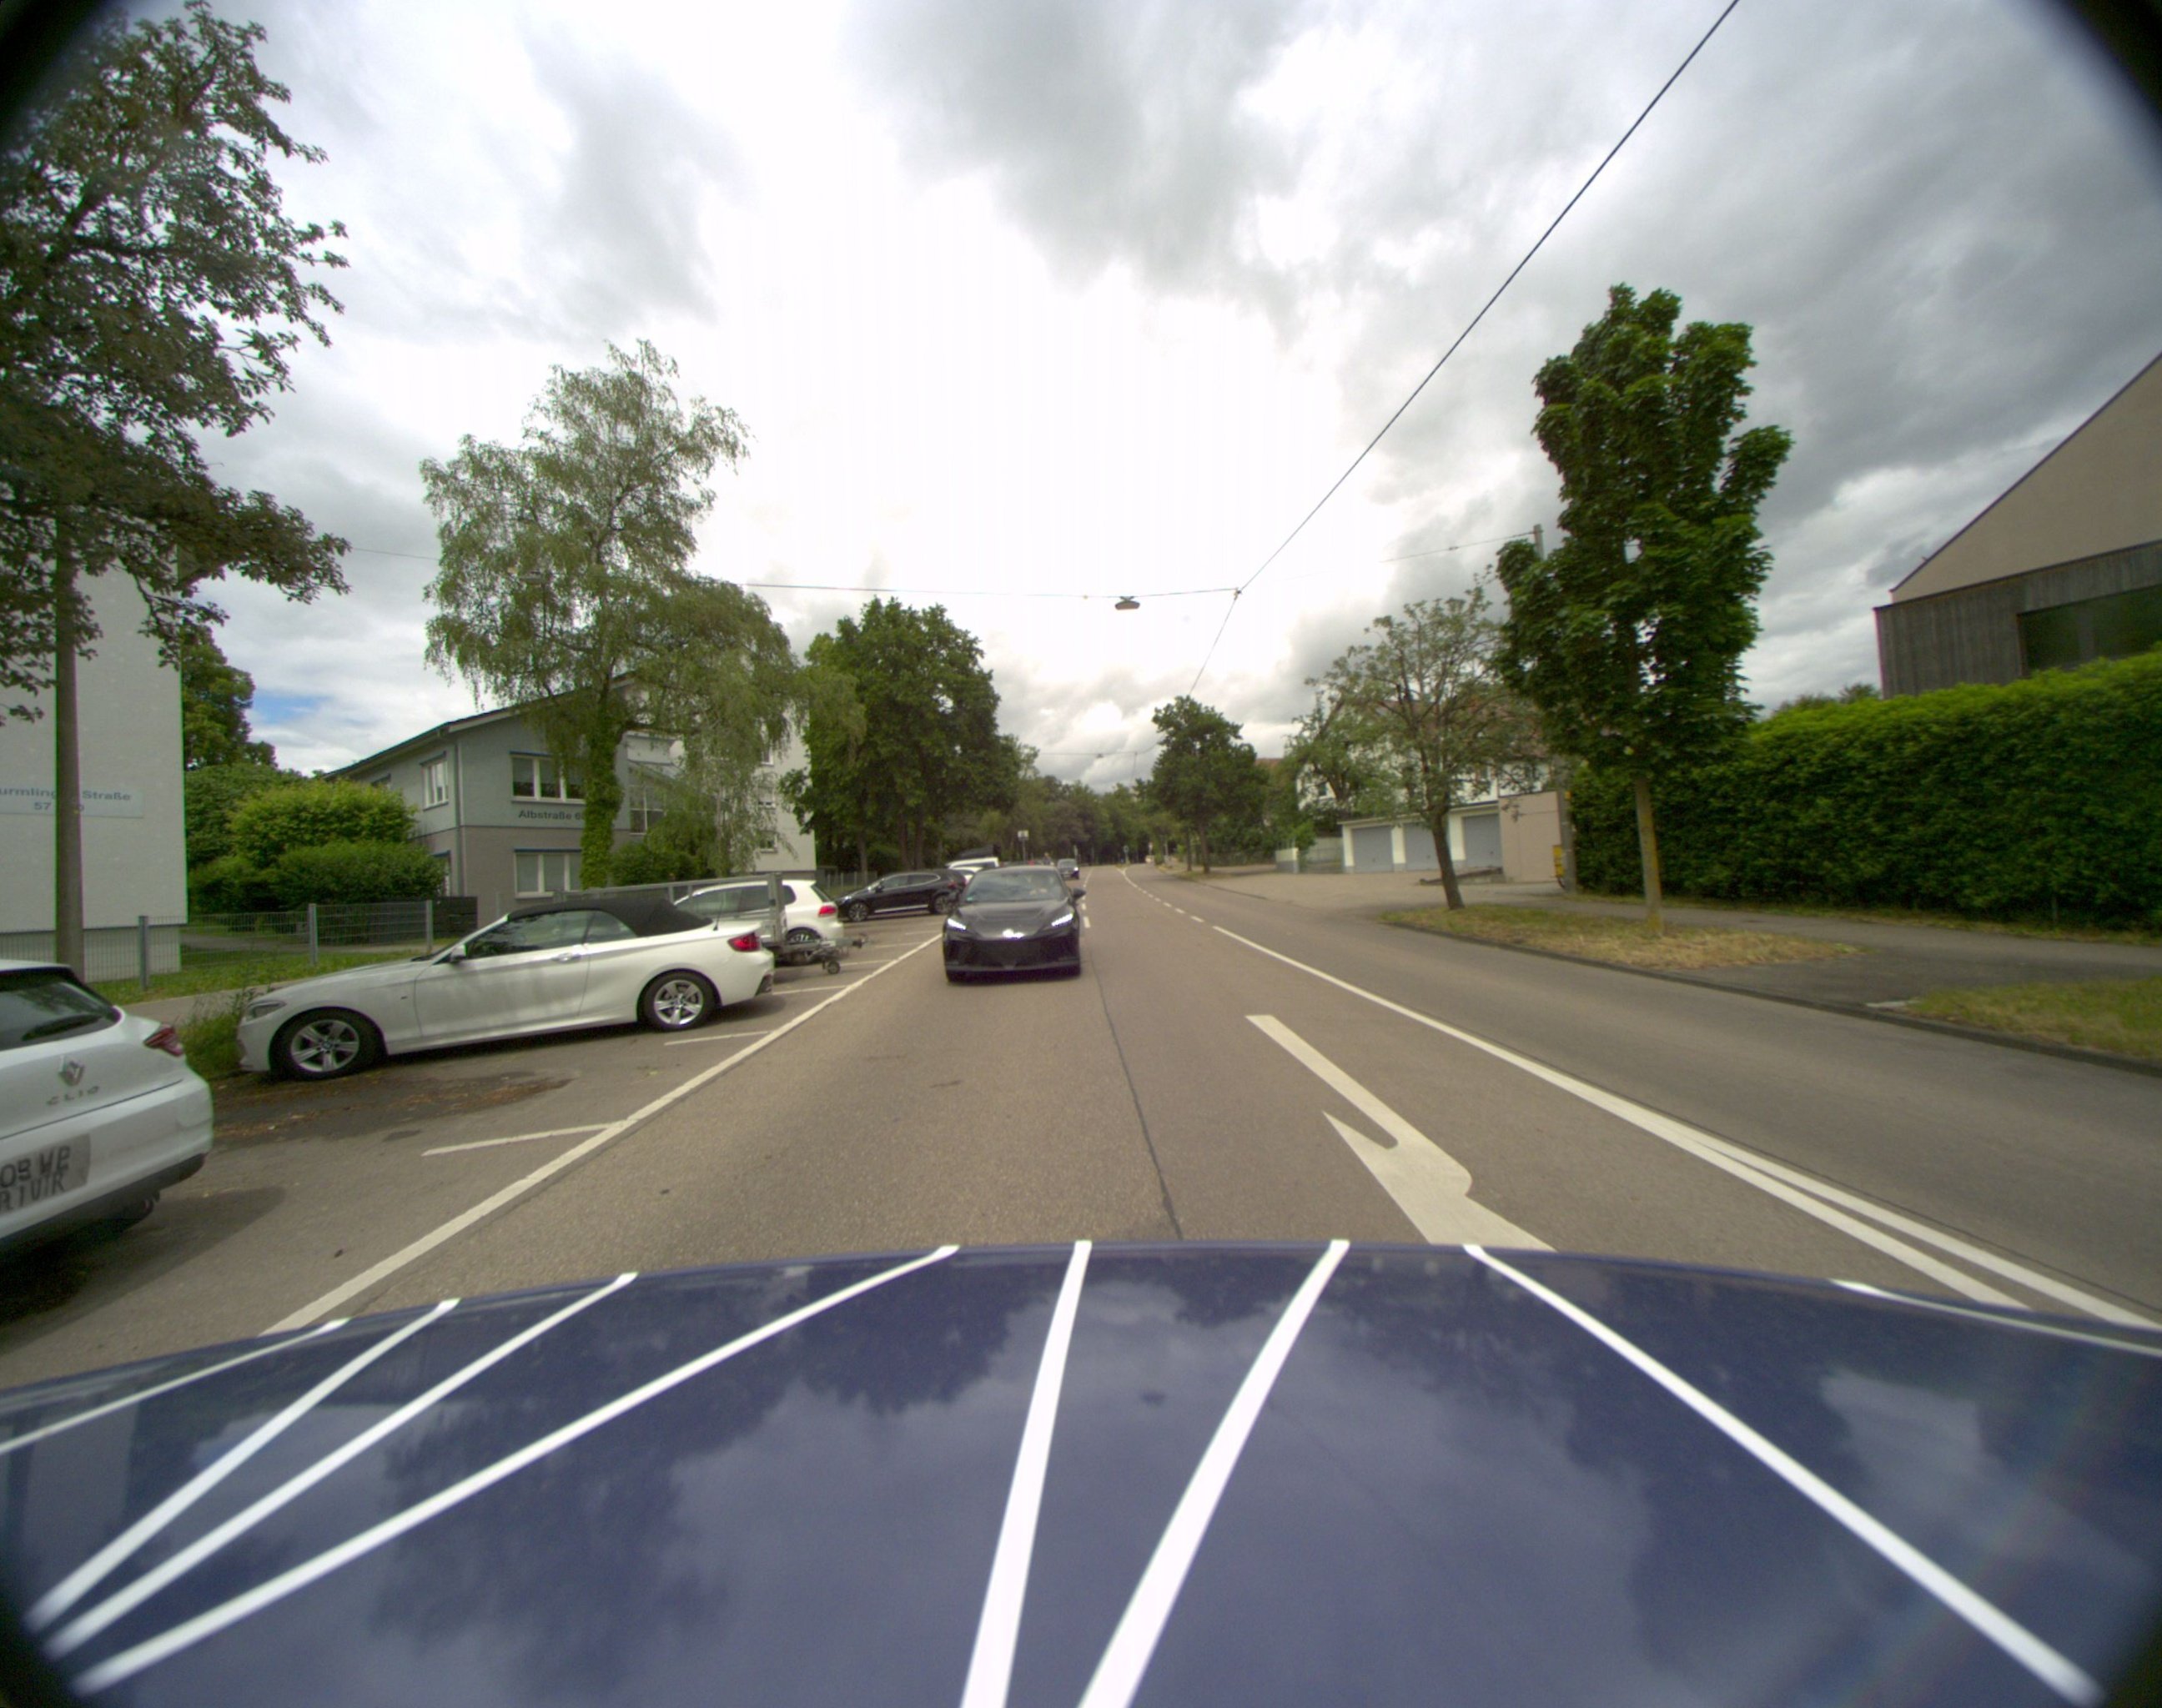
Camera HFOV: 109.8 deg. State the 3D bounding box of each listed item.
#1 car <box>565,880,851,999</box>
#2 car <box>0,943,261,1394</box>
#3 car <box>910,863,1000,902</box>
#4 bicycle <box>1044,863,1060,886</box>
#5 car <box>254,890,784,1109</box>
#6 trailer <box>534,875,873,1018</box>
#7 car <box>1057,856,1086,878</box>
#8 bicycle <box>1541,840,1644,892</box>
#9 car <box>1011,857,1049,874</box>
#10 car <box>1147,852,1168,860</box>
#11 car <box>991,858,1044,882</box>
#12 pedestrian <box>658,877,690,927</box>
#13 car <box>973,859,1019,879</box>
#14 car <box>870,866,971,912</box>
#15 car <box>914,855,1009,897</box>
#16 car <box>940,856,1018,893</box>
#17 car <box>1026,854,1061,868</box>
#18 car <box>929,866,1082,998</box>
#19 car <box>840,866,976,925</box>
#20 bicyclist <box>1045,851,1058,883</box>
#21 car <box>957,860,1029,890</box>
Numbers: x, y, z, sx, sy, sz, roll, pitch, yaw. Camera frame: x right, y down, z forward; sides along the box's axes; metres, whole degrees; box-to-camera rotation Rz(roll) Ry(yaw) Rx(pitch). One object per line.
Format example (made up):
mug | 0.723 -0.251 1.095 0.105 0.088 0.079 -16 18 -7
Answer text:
car | -6.114 1.335 12.922 4.003 1.455 1.788 -4 1 -21
car | -5.787 1.283 2.361 4.001 1.455 1.794 -4 1 -13
car | -5.744 1.276 34.525 3.858 1.430 1.714 -4 1 -13
bicycle | -1.636 1.125 42.844 0.648 1.230 1.876 -3 0 -10
car | -5.390 1.289 8.005 4.004 1.455 1.847 -4 1 -25
trailer | -5.099 1.187 10.840 4.002 1.543 1.656 -3 0 -17
car | -0.656 0.907 54.659 1.861 1.366 4.076 -3 0 2
bicycle | 13.476 0.317 20.001 2.624 1.198 0.846 -3 -1 -21
car | -5.517 1.201 81.720 3.857 1.553 1.654 -4 1 -7
car | 15.964 0.410 158.894 4.006 1.401 1.796 -3 0 -34
car | -5.119 1.265 60.995 3.860 1.603 1.652 -4 1 -19
pedestrian | -12.842 1.491 24.015 0.694 1.495 0.777 -3 1 -19
car | -7.908 1.410 70.400 3.860 1.549 1.652 -4 1 -19
car | -6.166 1.308 29.175 3.516 1.455 1.713 -4 1 -19
car | -5.923 1.061 37.576 4.226 1.748 1.856 -4 1 -23
car | -5.494 1.076 40.741 3.858 1.634 1.851 -4 1 -13
car | -4.298 0.795 86.489 3.857 1.379 1.654 -4 1 -7
car | -0.931 0.995 11.304 1.813 1.484 3.793 -2 1 1
car | -5.474 1.251 24.060 3.860 1.426 1.712 -4 3 -24
bicyclist | -1.665 0.751 42.860 0.647 1.768 0.627 -2 1 -10
car | -5.047 1.167 43.424 3.858 1.426 1.653 -4 1 -13
